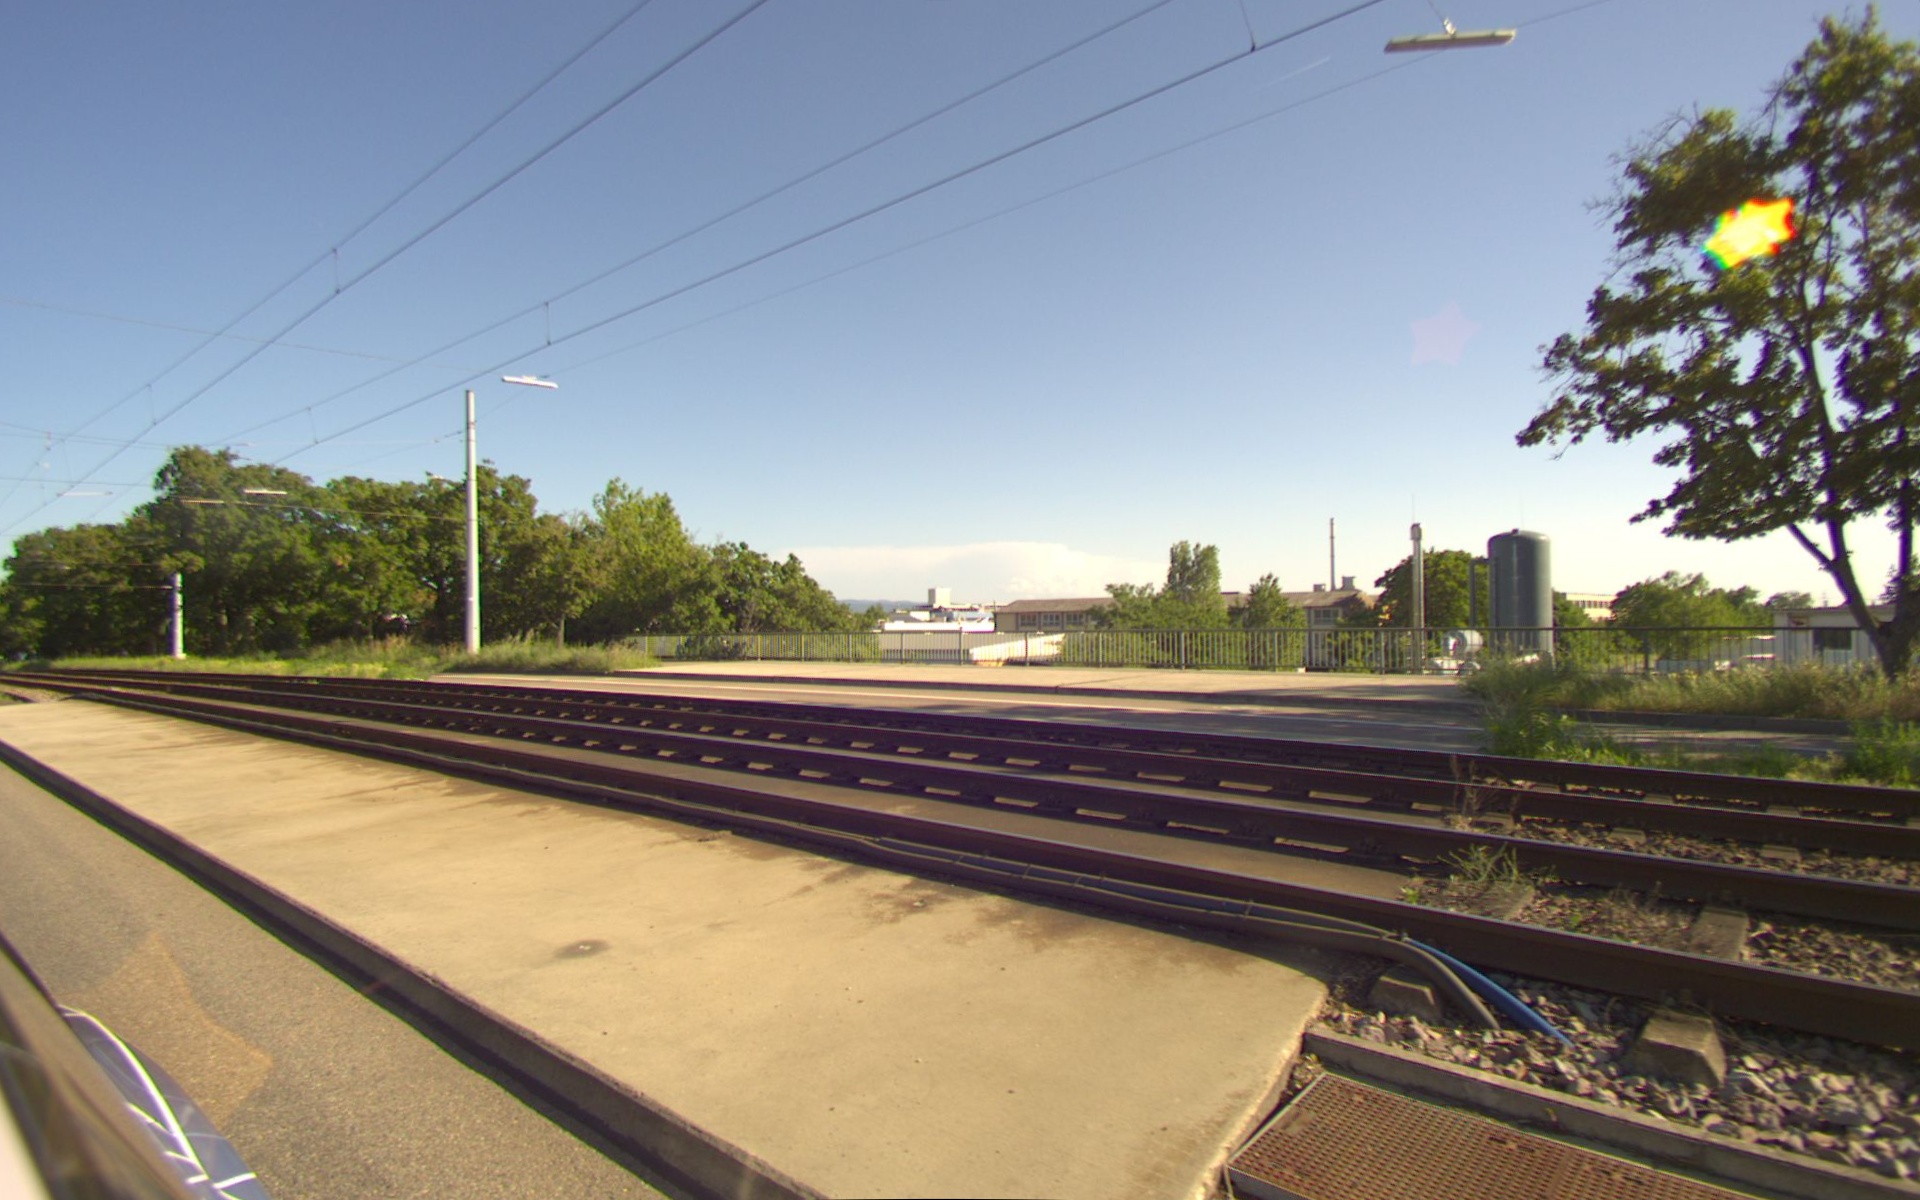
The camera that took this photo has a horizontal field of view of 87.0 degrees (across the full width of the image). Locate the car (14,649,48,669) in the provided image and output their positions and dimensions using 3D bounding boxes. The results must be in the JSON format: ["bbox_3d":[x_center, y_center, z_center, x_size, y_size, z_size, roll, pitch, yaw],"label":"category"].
[{"bbox_3d":[-81.027,5.151,88.205,4.405,1.500,1.790,-4,-1,42],"label":"car"}]

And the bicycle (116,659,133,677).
[{"bbox_3d":[-62.096,5.076,75.206,2.426,1.271,0.583,-4,-2,42],"label":"bicycle"}]

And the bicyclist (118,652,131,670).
[{"bbox_3d":[-62.104,4.554,75.213,0.987,1.320,0.576,-4,-2,42],"label":"bicyclist"}]
